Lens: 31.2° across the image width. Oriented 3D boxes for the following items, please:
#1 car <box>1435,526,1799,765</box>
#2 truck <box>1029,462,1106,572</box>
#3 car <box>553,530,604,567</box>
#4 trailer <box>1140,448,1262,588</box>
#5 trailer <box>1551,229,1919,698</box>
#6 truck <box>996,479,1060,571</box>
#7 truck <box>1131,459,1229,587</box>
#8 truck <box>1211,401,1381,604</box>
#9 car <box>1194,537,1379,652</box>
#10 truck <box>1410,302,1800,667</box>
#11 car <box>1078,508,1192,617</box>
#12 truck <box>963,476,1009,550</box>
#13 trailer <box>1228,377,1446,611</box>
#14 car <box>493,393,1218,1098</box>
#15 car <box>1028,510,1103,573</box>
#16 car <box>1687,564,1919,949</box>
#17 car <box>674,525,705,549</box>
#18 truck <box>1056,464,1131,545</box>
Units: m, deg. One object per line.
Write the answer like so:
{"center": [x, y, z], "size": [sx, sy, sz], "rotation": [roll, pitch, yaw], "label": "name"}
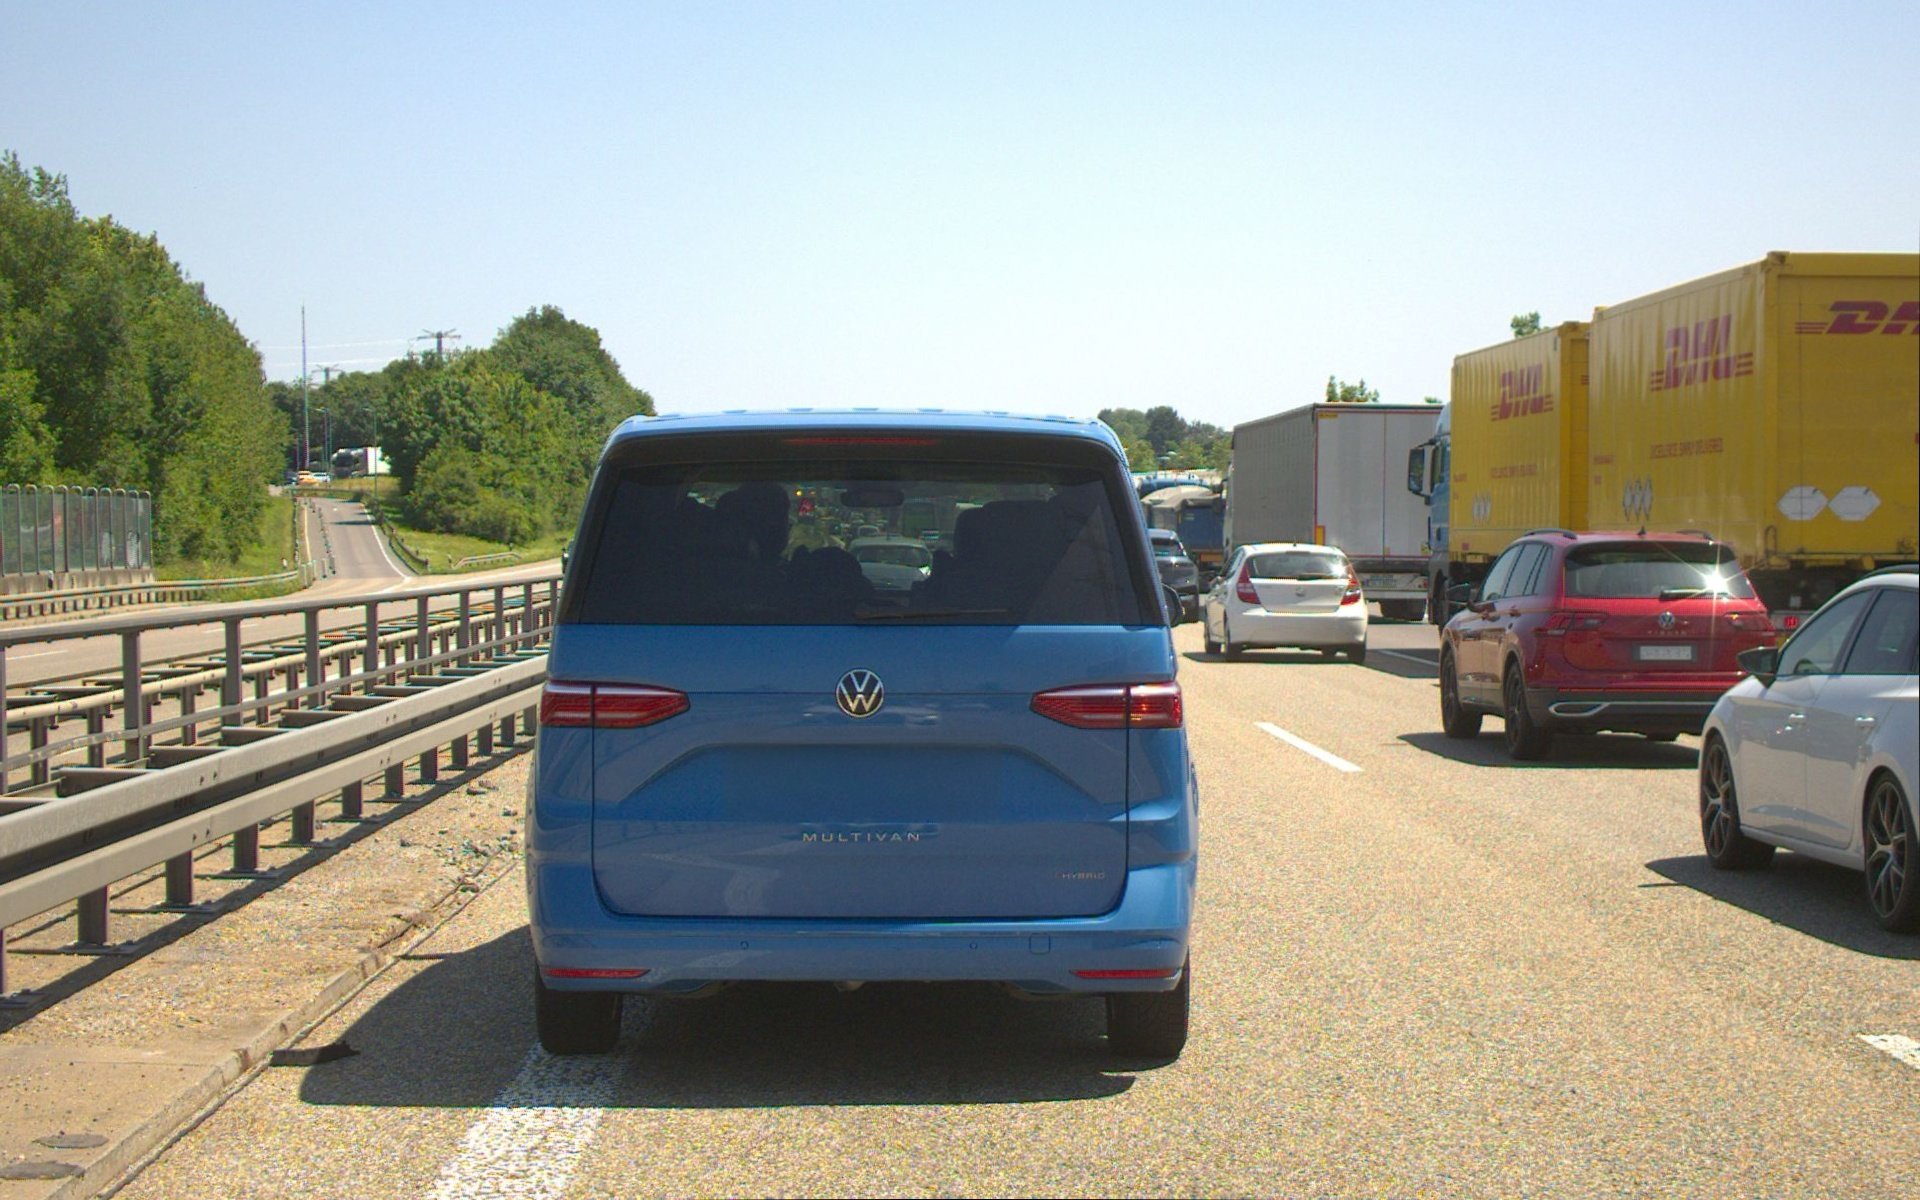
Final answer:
{"center": [4.727, 0.267, 25.302], "size": [1.851, 1.603, 4.000], "rotation": [1, 1, -1], "label": "car"}
{"center": [5.118, -3.903, 165.036], "size": [2.833, 5.023, 11.147], "rotation": [1, 0, -2], "label": "truck"}
{"center": [-17.032, -2.288, 153.646], "size": [1.780, 1.563, 4.387], "rotation": [-2, 1, -1], "label": "car"}
{"center": [6.778, -2.249, 98.054], "size": [2.379, 3.731, 11.189], "rotation": [1, 0, -1], "label": "trailer"}
{"center": [8.107, -1.203, 34.075], "size": [2.701, 4.010, 8.931], "rotation": [1, 0, -1], "label": "trailer"}
{"center": [3.801, -4.150, 193.781], "size": [2.833, 5.023, 11.818], "rotation": [1, 0, -2], "label": "truck"}
{"center": [6.610, -2.281, 103.872], "size": [2.367, 3.709, 6.034], "rotation": [1, 0, -1], "label": "truck"}
{"center": [7.100, -2.020, 73.505], "size": [2.768, 4.081, 6.984], "rotation": [1, 0, -1], "label": "truck"}
{"center": [4.141, -0.106, 44.119], "size": [1.838, 1.409, 4.001], "rotation": [0, 1, -2], "label": "car"}
{"center": [7.911, -1.333, 43.724], "size": [2.722, 4.040, 10.337], "rotation": [1, 0, -1], "label": "truck"}
{"center": [3.169, -0.715, 62.817], "size": [1.715, 1.581, 3.822], "rotation": [-5, 5, -1], "label": "car"}
{"center": [1.915, -6.505, 260.105], "size": [2.833, 5.354, 12.556], "rotation": [1, 0, -2], "label": "truck"}
{"center": [7.181, -1.936, 67.081], "size": [2.755, 4.132, 11.312], "rotation": [1, 0, -1], "label": "trailer"}
{"center": [-0.297, 0.347, 10.980], "size": [1.882, 1.831, 4.000], "rotation": [0, 1, -1], "label": "car"}
{"center": [2.659, -1.494, 87.463], "size": [1.715, 1.535, 3.821], "rotation": [-1, 1, -1], "label": "car"}
{"center": [4.387, 0.564, 14.294], "size": [1.781, 1.382, 4.188], "rotation": [0, 1, -1], "label": "car"}
{"center": [-18.593, -4.349, 236.394], "size": [1.754, 1.542, 4.000], "rotation": [-2, 0, -1], "label": "car"}
{"center": [5.591, -3.972, 145.288], "size": [2.355, 3.207, 9.742], "rotation": [1, 0, -2], "label": "truck"}
